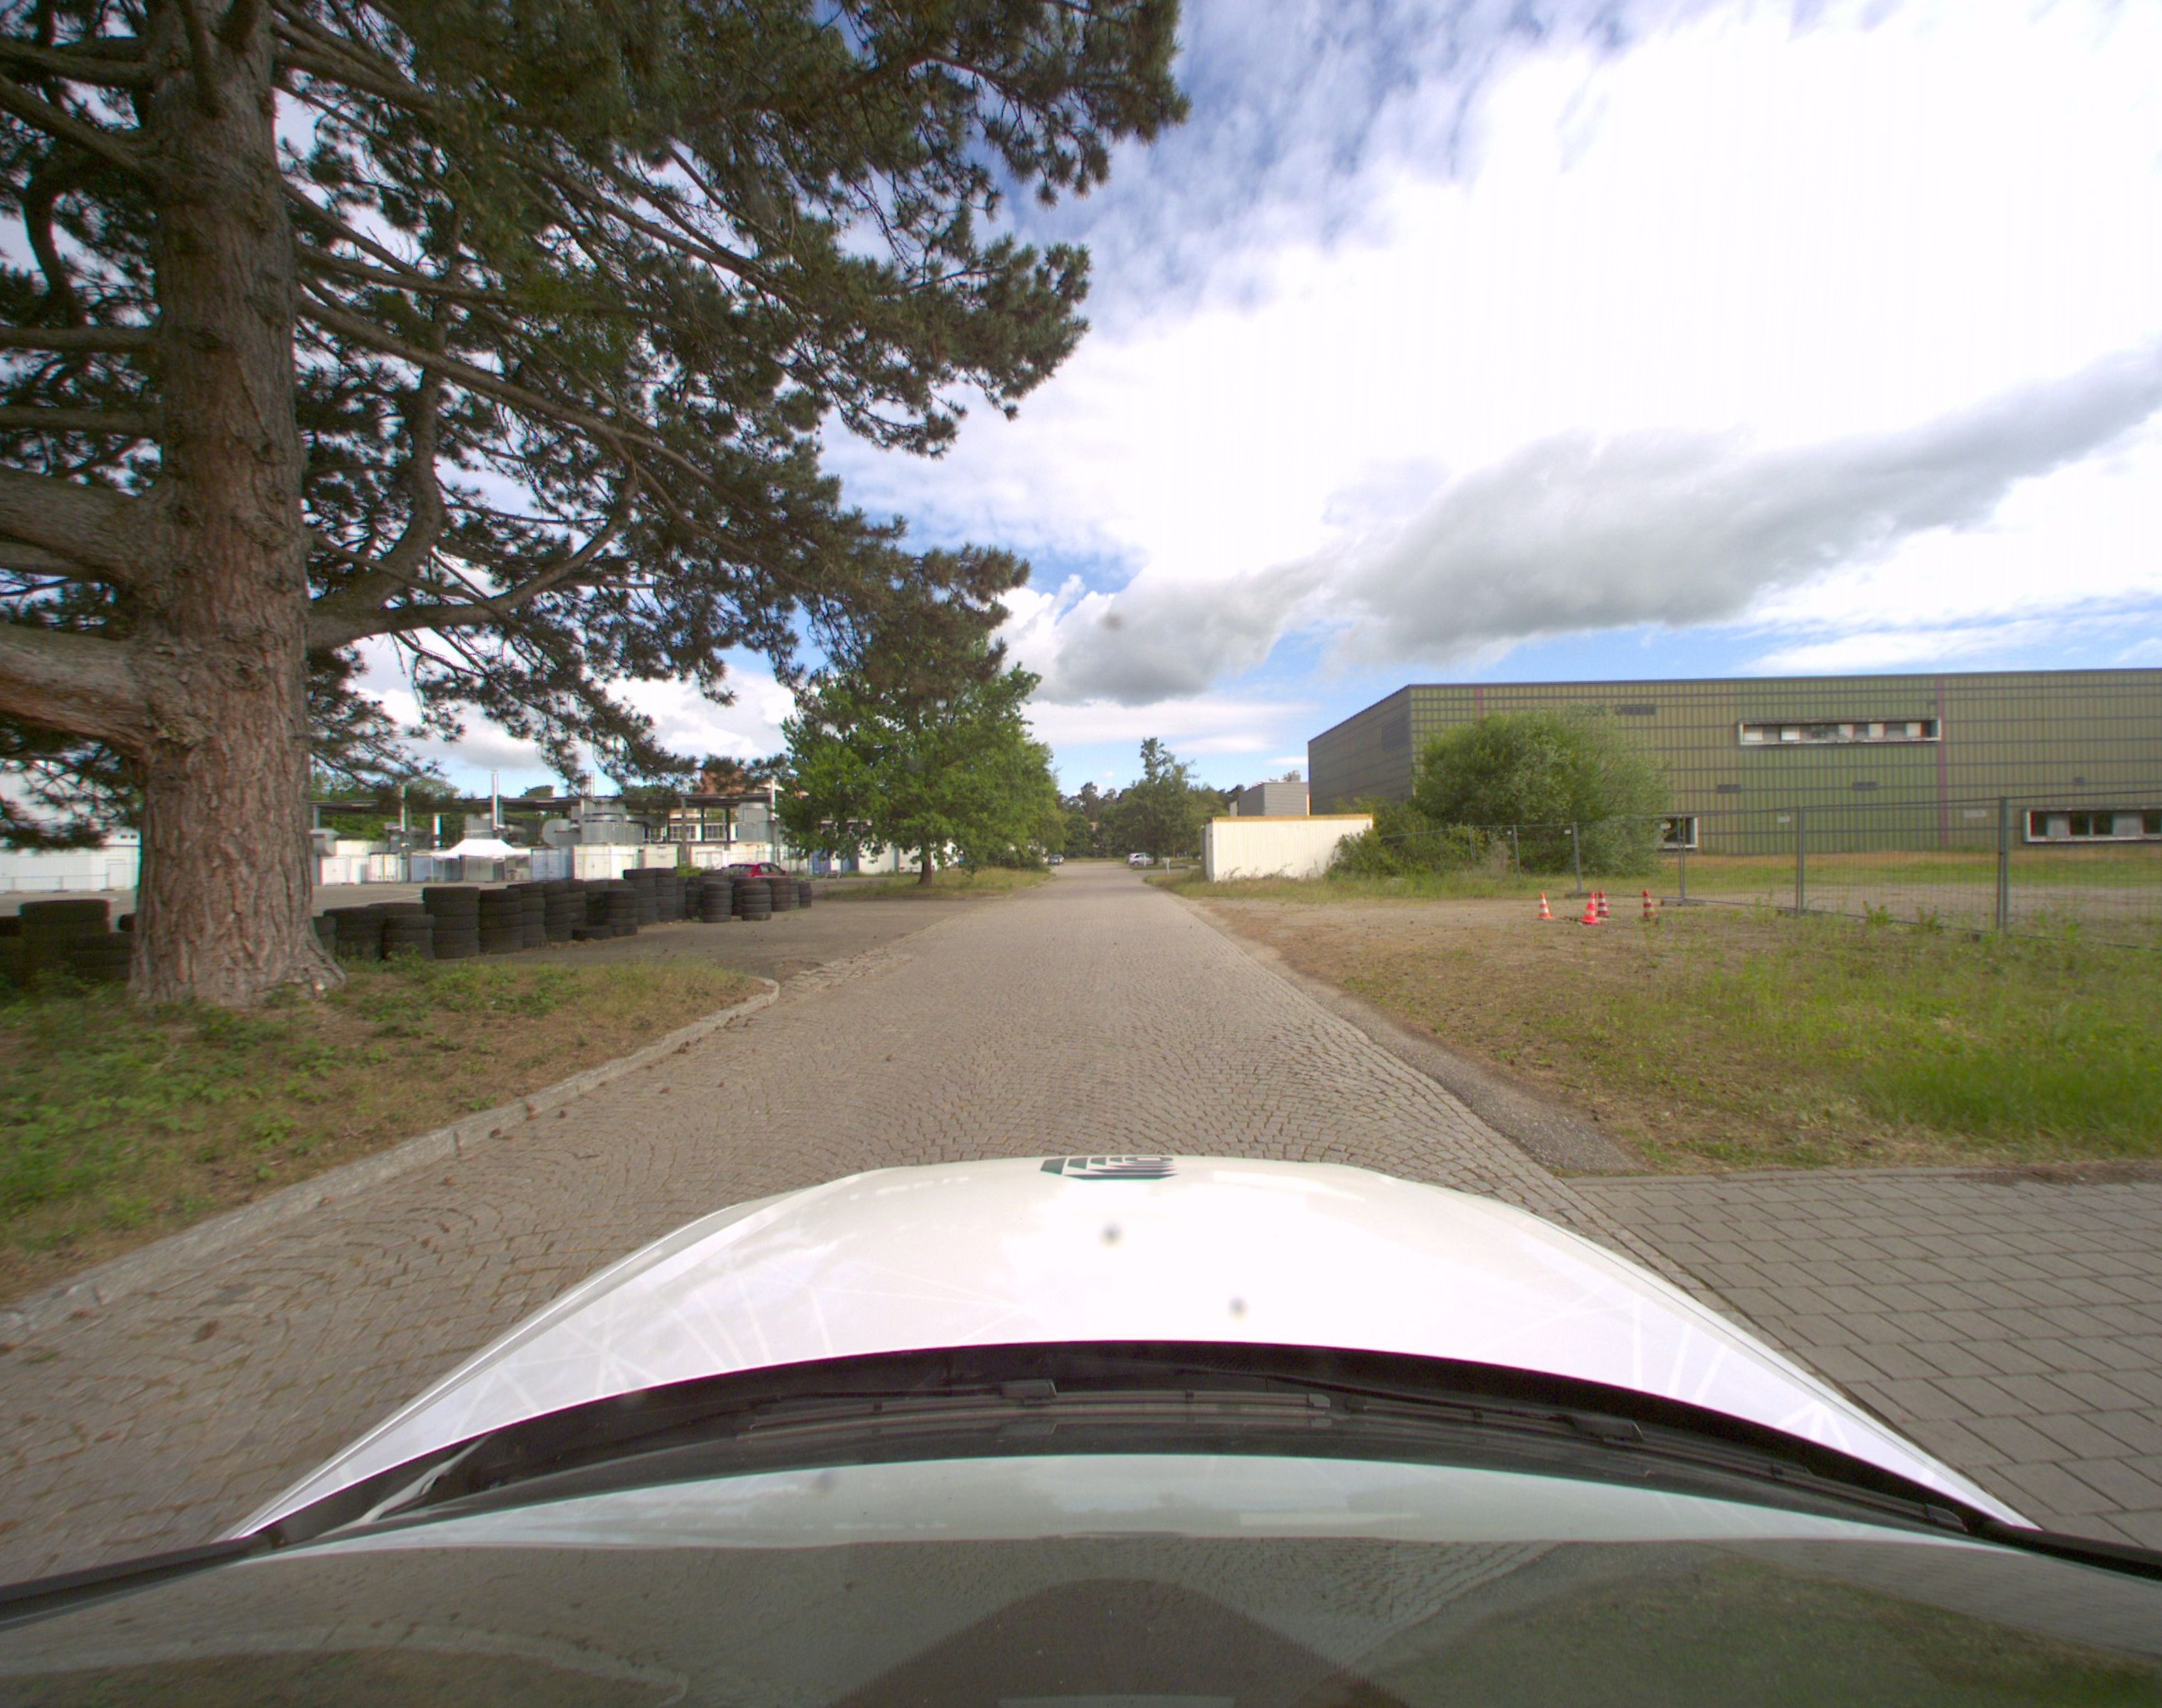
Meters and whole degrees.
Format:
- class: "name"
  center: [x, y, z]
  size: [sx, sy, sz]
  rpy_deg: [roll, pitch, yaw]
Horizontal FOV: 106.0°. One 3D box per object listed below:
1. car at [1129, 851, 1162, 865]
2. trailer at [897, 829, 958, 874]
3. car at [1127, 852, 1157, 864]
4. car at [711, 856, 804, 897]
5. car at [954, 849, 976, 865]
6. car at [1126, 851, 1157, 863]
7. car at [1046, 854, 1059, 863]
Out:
- class: "car"
  center: [8.107, 0.504, 102.861]
  size: [3.969, 1.448, 1.654]
  rpy_deg: [-3, 0, 2]
- class: "trailer"
  center: [-13.100, -0.196, 70.392]
  size: [2.614, 3.598, 10.188]
  rpy_deg: [-1, 0, 4]
- class: "car"
  center: [7.478, 0.486, 100.179]
  size: [3.509, 1.362, 1.623]
  rpy_deg: [-3, 0, 2]
- class: "car"
  center: [-12.689, 0.857, 32.257]
  size: [1.617, 1.433, 4.072]
  rpy_deg: [-1, 0, 7]
- class: "car"
  center: [-15.653, 0.418, 110.189]
  size: [1.986, 2.013, 4.770]
  rpy_deg: [-1, 0, 2]
- class: "car"
  center: [8.025, 0.383, 107.999]
  size: [3.969, 1.475, 1.654]
  rpy_deg: [-3, 0, 2]
- class: "car"
  center: [-4.193, 0.695, 121.989]
  size: [1.641, 1.369, 3.999]
  rpy_deg: [-1, 0, 2]
